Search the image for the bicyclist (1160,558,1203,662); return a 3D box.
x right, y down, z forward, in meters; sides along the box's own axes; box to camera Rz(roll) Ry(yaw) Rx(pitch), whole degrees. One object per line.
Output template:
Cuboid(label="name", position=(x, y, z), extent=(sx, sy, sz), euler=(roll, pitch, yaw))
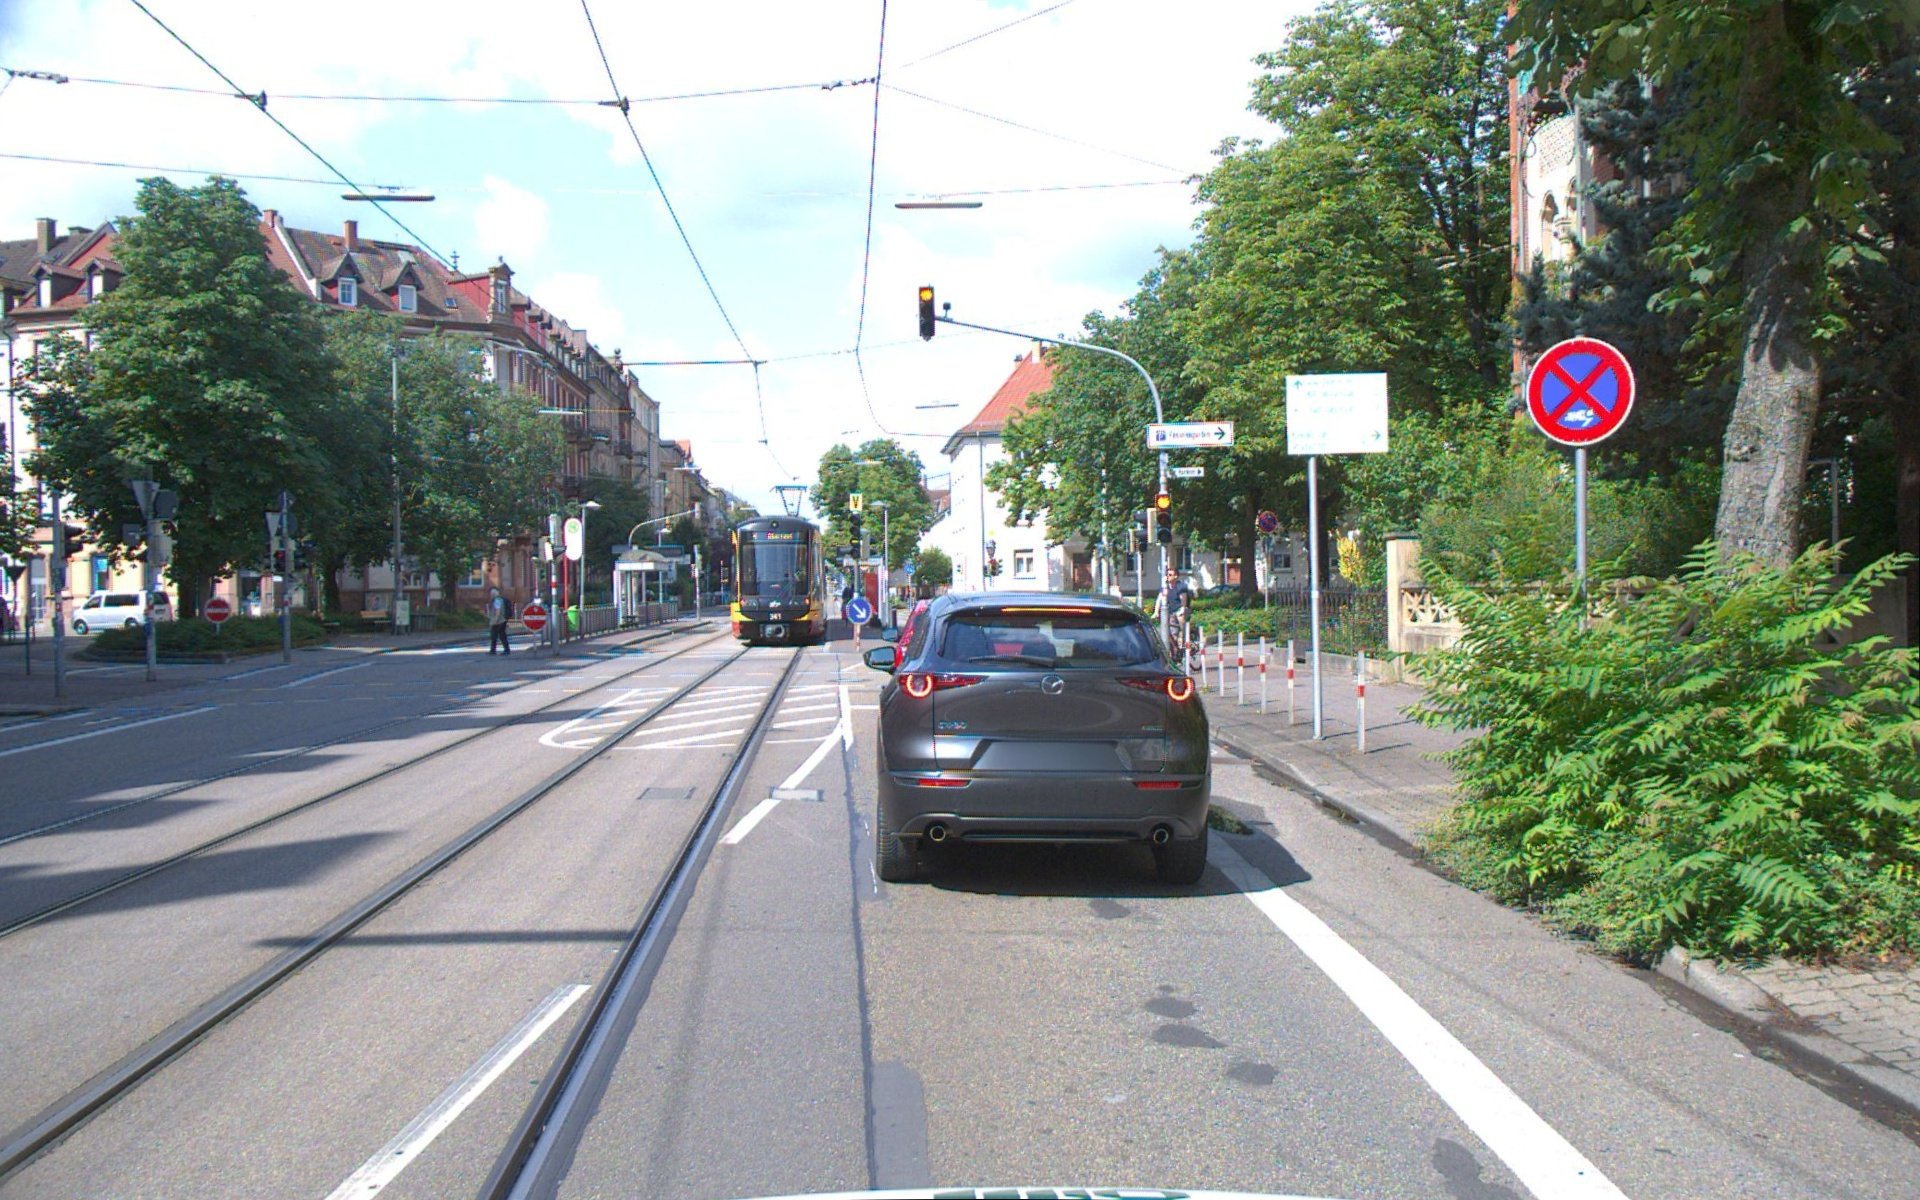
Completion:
Cuboid(label="bicyclist", position=(3.943, 0.176, 29.426), extent=(0.642, 1.824, 0.610), euler=(-1, 0, 16))

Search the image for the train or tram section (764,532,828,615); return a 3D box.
Cuboid(label="train or tram section", position=(-7.738, -1.311, 79.181), extent=(2.699, 3.551, 14.395), euler=(-1, 1, -5))

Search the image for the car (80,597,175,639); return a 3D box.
Cuboid(label="car", position=(-39.620, 0.847, 78.688), extent=(3.906, 1.937, 1.999), euler=(-1, 0, 23))

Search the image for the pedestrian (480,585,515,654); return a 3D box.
Cuboid(label="pedestrian", position=(-11.868, 0.501, 42.440), extent=(0.708, 1.735, 0.817), euler=(-1, 0, -25))

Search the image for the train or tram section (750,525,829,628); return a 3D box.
Cuboid(label="train or tram section", position=(-6.542, -0.982, 64.842), extent=(2.699, 3.551, 14.395), euler=(-1, 1, -5))

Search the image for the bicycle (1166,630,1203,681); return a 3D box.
Cuboid(label="bicycle", position=(4.030, 0.982, 29.588), extent=(0.482, 0.838, 1.700), euler=(-1, 0, 13))

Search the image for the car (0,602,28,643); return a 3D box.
Cuboid(label="car", position=(-40.081, 0.926, 66.595), extent=(3.906, 1.624, 2.000), euler=(-1, 0, -1))

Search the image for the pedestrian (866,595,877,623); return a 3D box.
Cuboid(label="pedestrian", position=(-3.235, 0.323, 60.238), extent=(0.372, 1.001, 0.474), euler=(-1, 0, -6))

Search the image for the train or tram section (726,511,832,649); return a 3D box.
Cuboid(label="train or tram section", position=(-5.341, -0.689, 50.480), extent=(2.699, 3.551, 14.395), euler=(-1, 1, -5))

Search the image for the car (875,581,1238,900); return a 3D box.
Cuboid(label="car", position=(0.428, 0.671, 10.036), extent=(1.742, 1.526, 3.999), euler=(1, 0, -1))

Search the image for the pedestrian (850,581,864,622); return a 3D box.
Cuboid(label="pedestrian", position=(-3.741, 0.043, 60.058), extent=(0.441, 1.459, 0.474), euler=(-1, 0, -6))

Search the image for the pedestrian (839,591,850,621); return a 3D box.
Cuboid(label="pedestrian", position=(-4.183, 0.224, 59.874), extent=(0.372, 1.089, 0.474), euler=(-1, 0, -5))

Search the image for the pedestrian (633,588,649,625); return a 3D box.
Cuboid(label="pedestrian", position=(-12.426, 0.256, 64.379), extent=(0.420, 1.423, 0.397), euler=(-1, 0, 30))

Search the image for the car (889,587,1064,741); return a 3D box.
Cuboid(label="car", position=(0.127, 0.629, 18.637), extent=(1.742, 1.526, 3.999), euler=(1, 0, -1))
